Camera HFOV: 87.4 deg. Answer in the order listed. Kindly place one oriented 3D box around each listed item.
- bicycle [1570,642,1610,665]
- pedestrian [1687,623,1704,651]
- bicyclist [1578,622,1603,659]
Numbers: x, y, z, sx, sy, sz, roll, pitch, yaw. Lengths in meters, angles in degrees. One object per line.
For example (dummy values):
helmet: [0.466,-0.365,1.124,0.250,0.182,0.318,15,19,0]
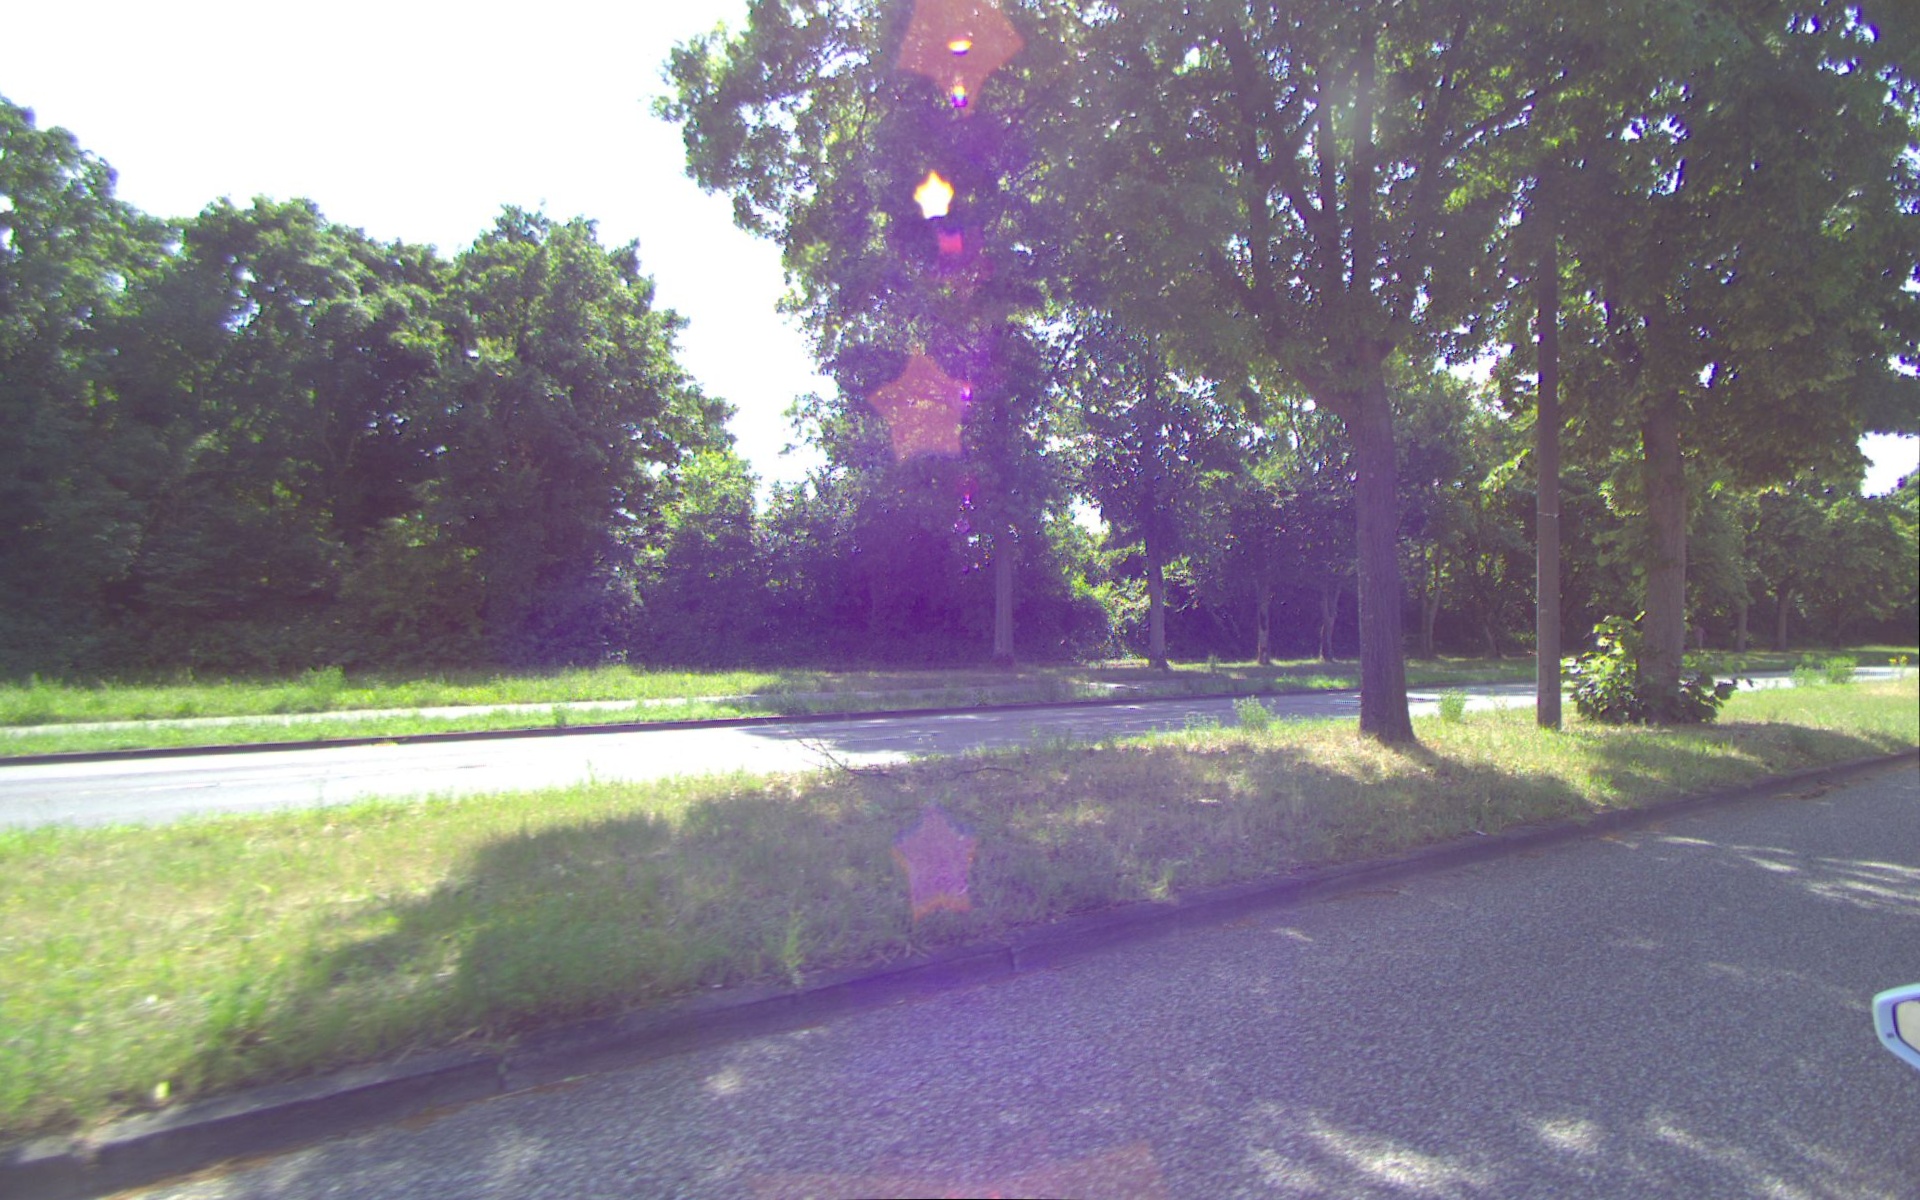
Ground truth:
bicycle: [25.421,2.164,40.523,1.893,0.890,0.615,1,-1,-31]
pedestrian: [44.833,2.254,61.248,0.649,1.652,0.640,1,0,-32]
bicyclist: [25.451,1.637,40.546,0.721,1.467,0.615,1,-1,-31]
